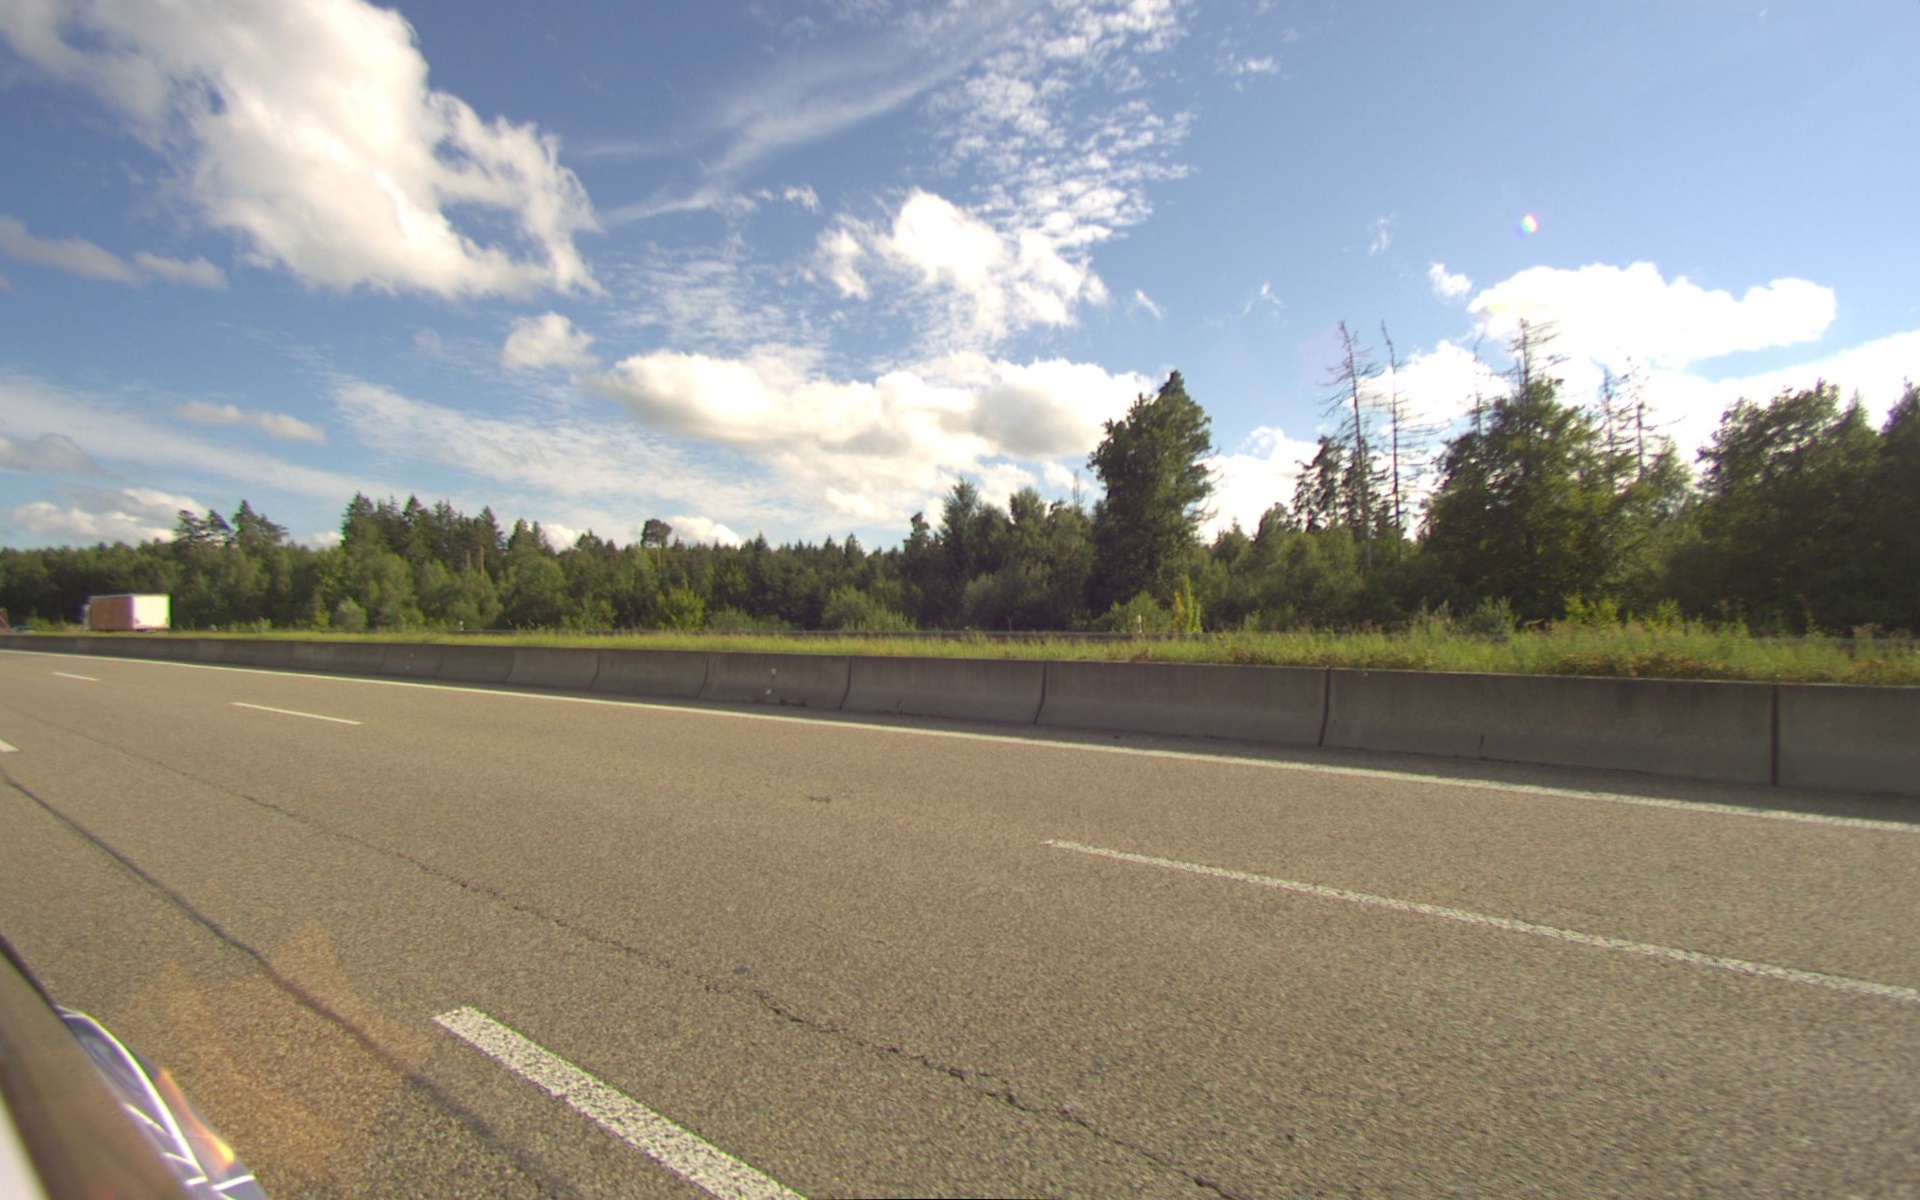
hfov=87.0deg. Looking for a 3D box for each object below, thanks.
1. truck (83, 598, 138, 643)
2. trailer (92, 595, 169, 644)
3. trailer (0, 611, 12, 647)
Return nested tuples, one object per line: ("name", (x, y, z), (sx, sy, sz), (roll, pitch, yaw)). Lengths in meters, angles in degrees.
("truck", (-80.298, 1.917, 95.619), (5.663, 4.140, 2.994), (-2, -1, 40))
("trailer", (-74.523, 1.761, 90.816), (12.779, 4.140, 2.991), (-2, -1, 40))
("trailer", (-122.470, 3.730, 127.337), (12.032, 4.425, 2.776), (-2, -1, 38))
